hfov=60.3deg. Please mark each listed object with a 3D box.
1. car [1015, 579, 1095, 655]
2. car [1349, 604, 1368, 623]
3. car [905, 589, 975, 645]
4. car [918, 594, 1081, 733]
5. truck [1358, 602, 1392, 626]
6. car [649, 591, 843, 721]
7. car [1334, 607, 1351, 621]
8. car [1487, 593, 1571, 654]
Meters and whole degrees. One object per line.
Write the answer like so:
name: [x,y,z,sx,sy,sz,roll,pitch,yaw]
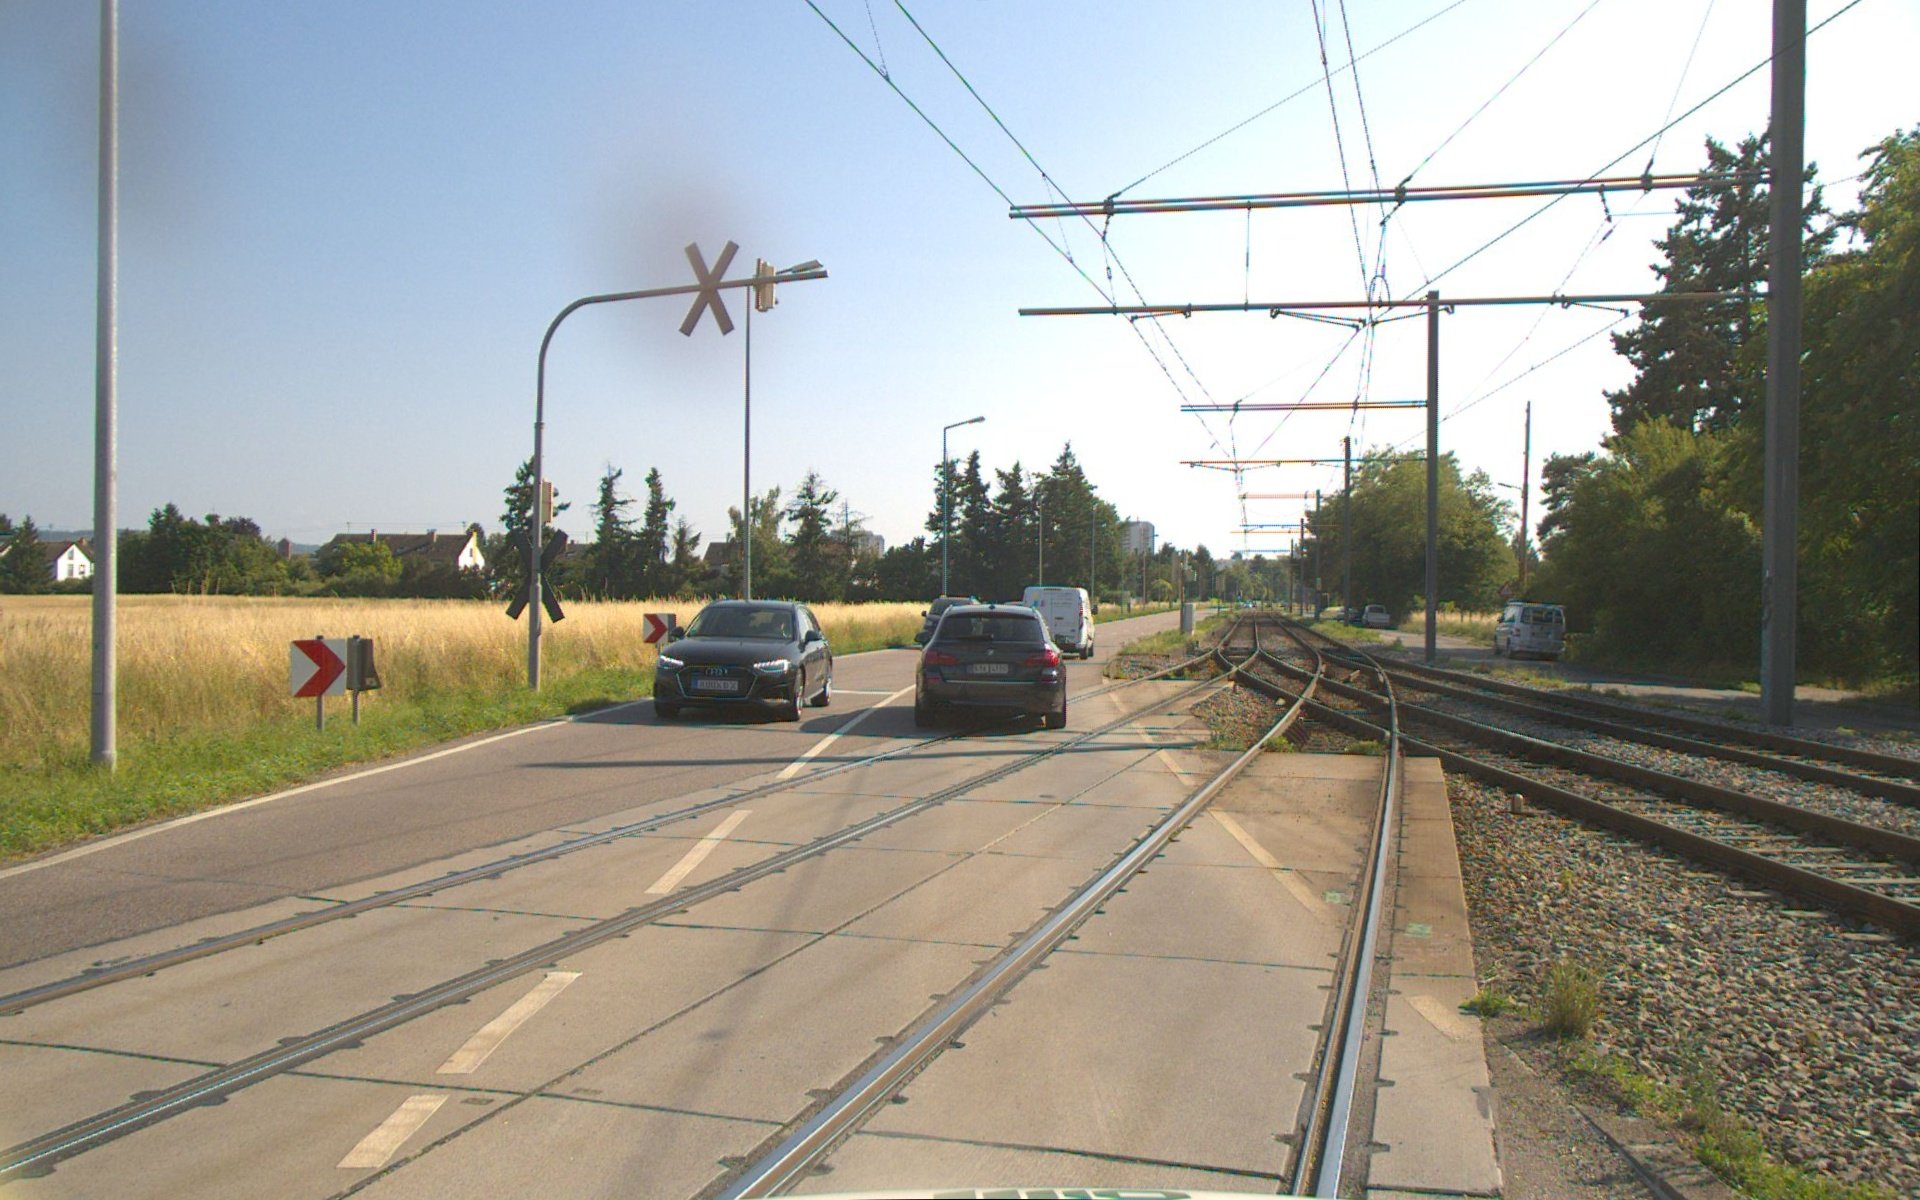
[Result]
car: [2.832,0.451,48.110,1.818,2.023,5.112,1,0,8]
car: [39.114,1.349,162.346,1.698,1.709,3.546,2,-1,13]
car: [-0.610,0.521,53.876,1.670,1.694,4.593,1,0,7]
car: [0.464,0.718,21.286,1.831,1.478,4.744,1,1,0]
truck: [33.787,1.097,134.718,2.157,1.851,5.934,1,0,10]
car: [-2.662,0.645,21.504,1.657,1.464,4.286,2,0,4]
car: [41.618,1.528,180.187,1.587,1.423,3.492,2,-1,10]
car: [20.682,0.819,60.282,1.951,2.039,5.071,3,0,9]
